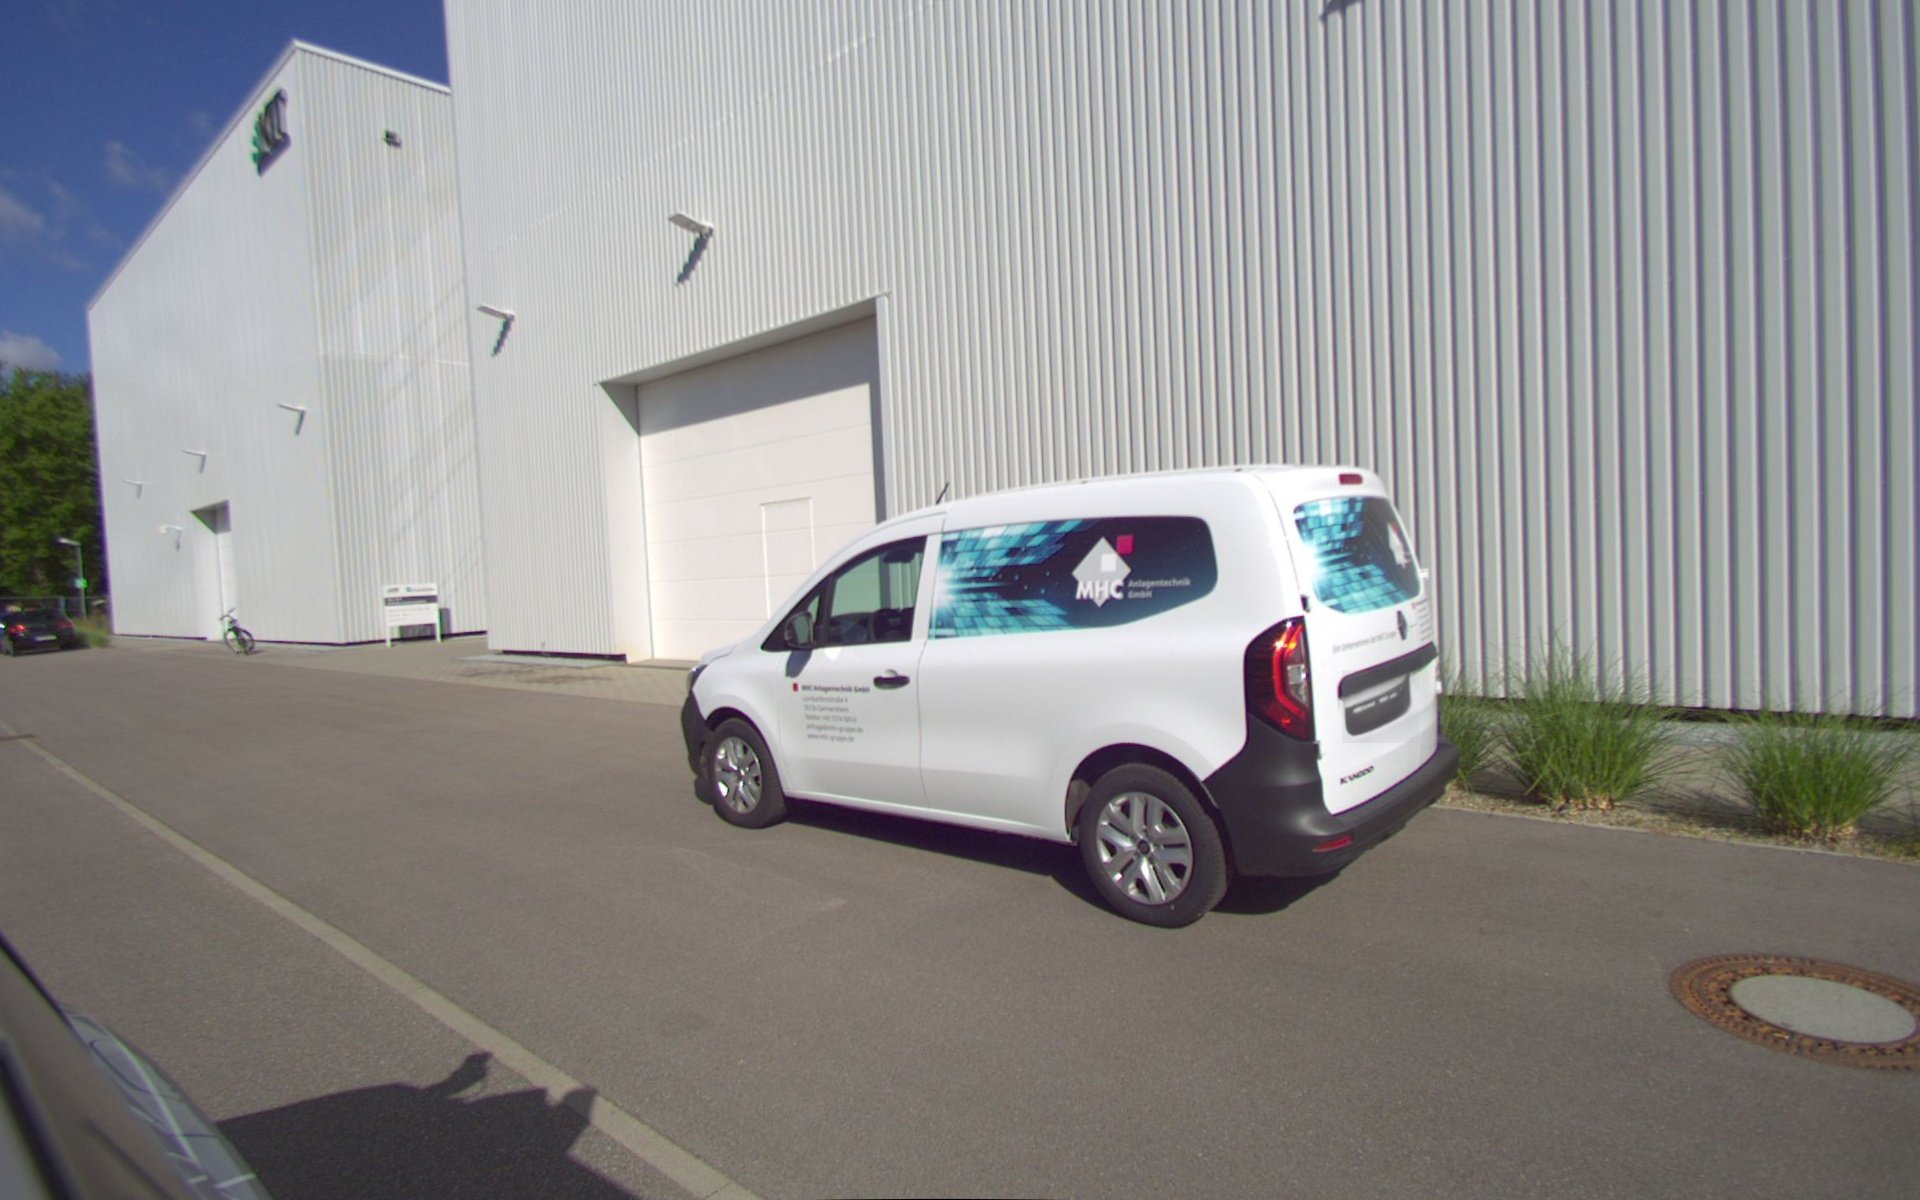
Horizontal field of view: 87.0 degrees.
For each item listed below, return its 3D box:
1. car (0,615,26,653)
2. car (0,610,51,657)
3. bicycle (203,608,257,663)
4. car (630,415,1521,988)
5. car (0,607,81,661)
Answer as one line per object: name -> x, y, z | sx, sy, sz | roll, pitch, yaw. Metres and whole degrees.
car -> -39.392, 1.385, 41.179 | 4.001, 1.451, 1.766 | -1, 1, 44
car -> -35.231, 1.244, 37.586 | 4.001, 1.532, 1.767 | -1, 5, 44
bicycle -> -18.060, 0.854, 25.079 | 0.895, 1.151, 1.905 | -7, 5, -33
car -> 0.316, 0.292, 5.402 | 4.356, 1.859, 1.871 | -1, 4, 41
car -> -31.240, 1.124, 34.179 | 4.001, 1.532, 1.871 | -1, 5, 44
